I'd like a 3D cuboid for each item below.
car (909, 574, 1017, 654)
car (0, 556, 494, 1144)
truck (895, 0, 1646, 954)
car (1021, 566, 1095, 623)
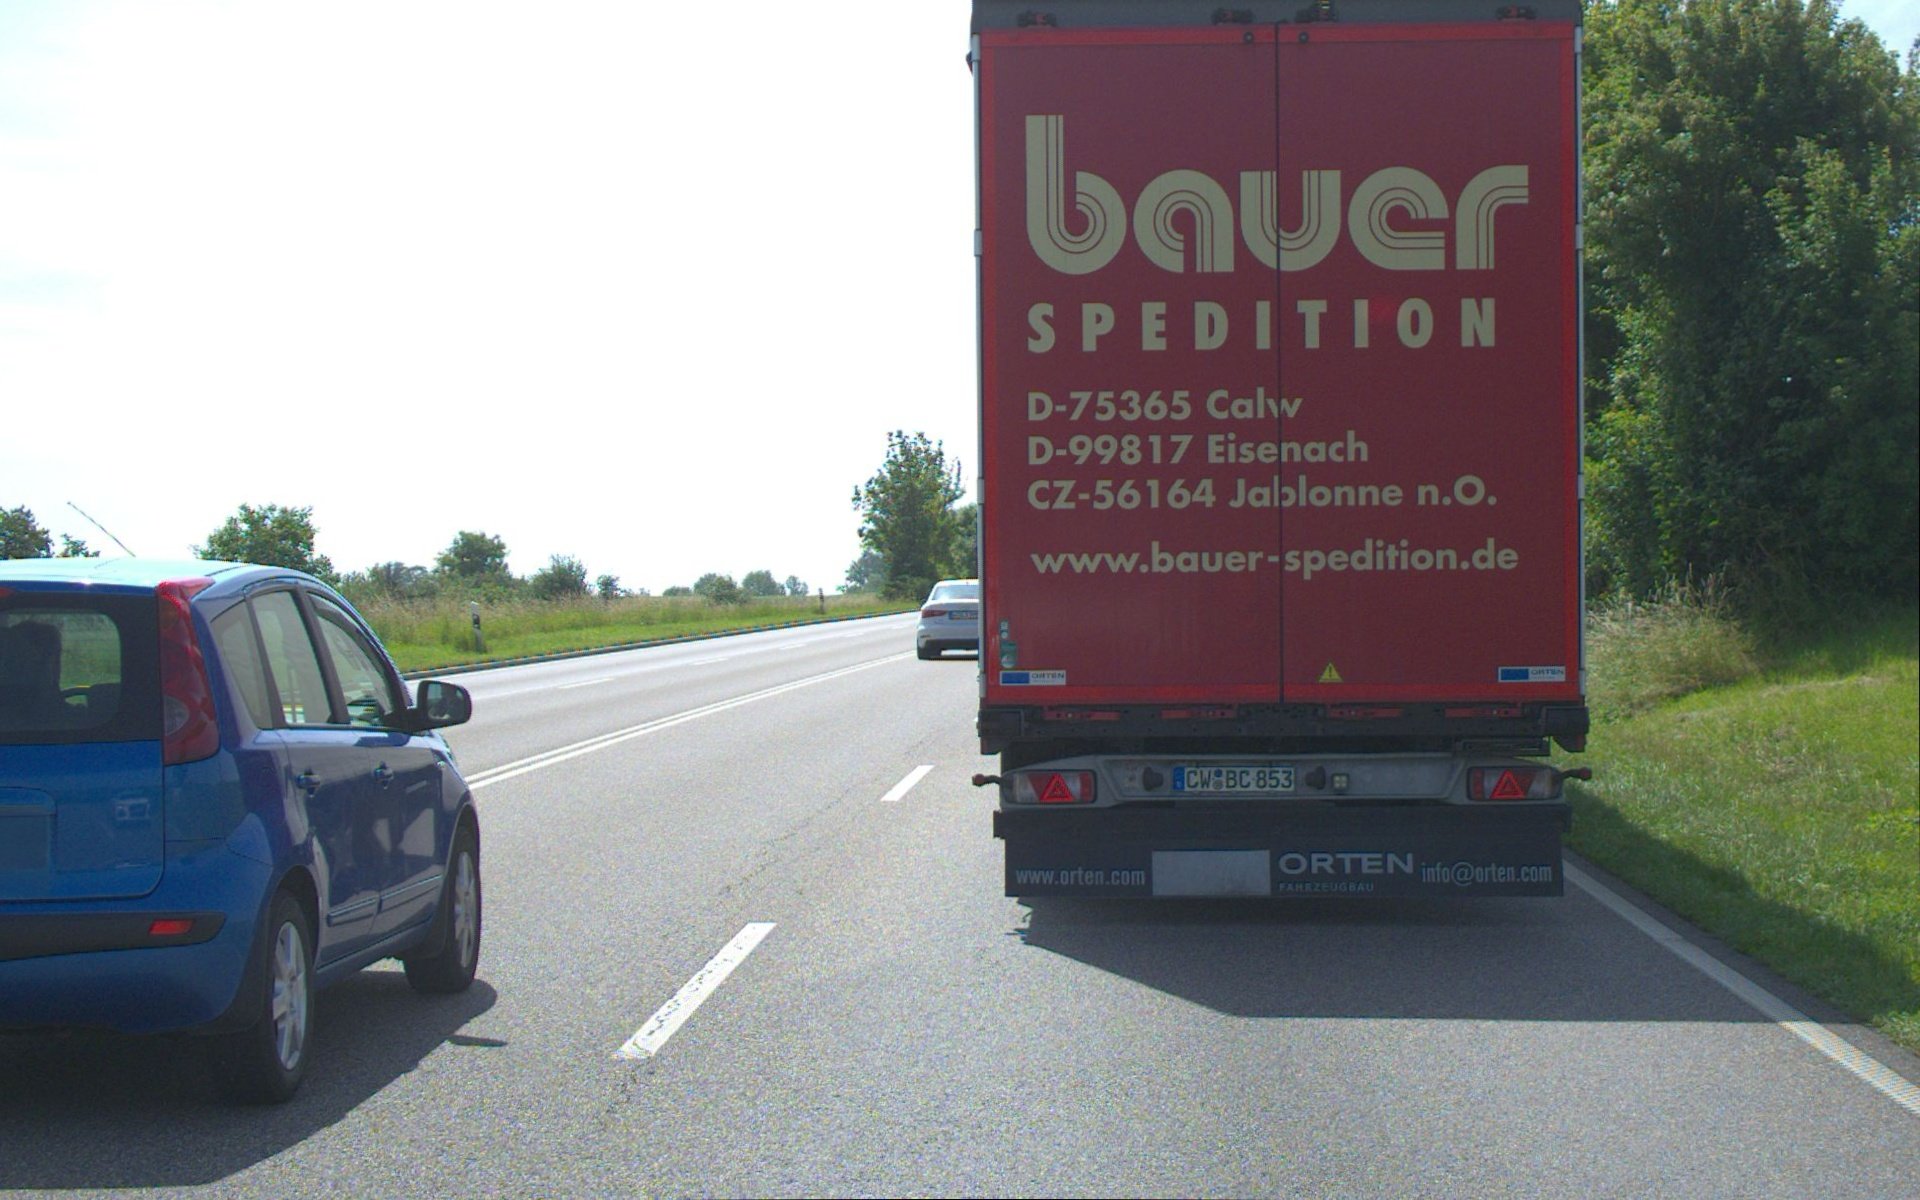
[{"bbox_3d":[0.089,0.225,61.728,1.703,1.371,4.603,1,0,3],"label":"car"},{"bbox_3d":[-2.628,0.637,10.903,1.632,1.526,3.915,0,0,2],"label":"car"},{"bbox_3d":[1.208,-0.760,22.361,3.007,4.166,16.715,1,1,0],"label":"truck"},{"bbox_3d":[2.696,-0.170,93.545,1.821,1.467,4.788,1,1,4],"label":"car"}]
